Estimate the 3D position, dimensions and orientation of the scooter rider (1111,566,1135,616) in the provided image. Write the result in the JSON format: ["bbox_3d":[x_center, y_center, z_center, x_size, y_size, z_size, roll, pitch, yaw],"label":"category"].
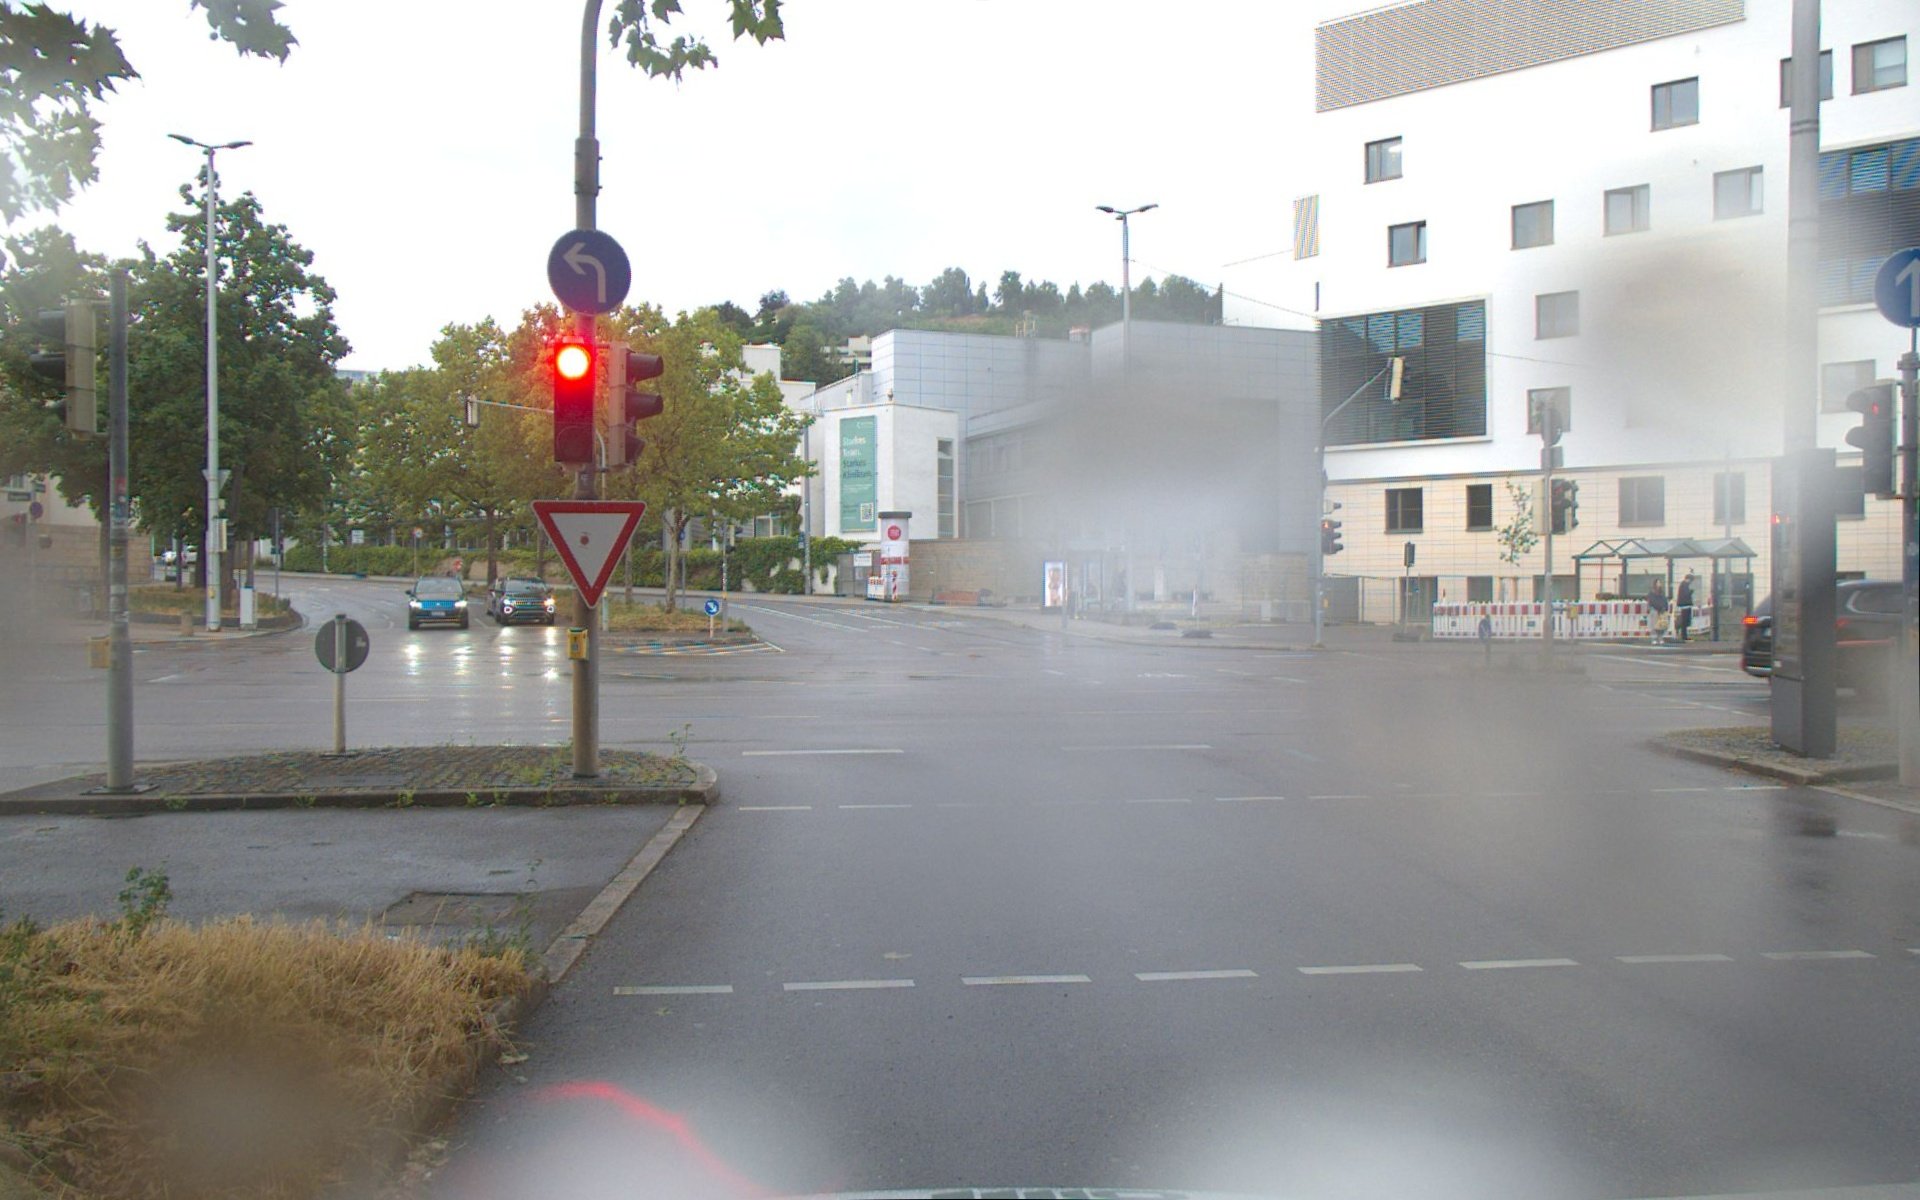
[{"bbox_3d":[6.419,-0.358,65.068,0.713,1.916,0.628,2,-1,-21],"label":"scooter rider"}]

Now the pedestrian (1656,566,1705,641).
[{"bbox_3d":[19.463,0.095,44.674,0.980,1.969,0.955,1,-1,9],"label":"pedestrian"}]

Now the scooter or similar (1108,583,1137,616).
[{"bbox_3d":[6.393,-0.023,65.074,0.582,1.260,1.305,2,-1,-22],"label":"scooter or similar"}]

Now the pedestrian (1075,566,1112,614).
[{"bbox_3d":[4.964,-0.353,61.617,1.232,1.749,1.016,1,-1,-2],"label":"pedestrian"}]

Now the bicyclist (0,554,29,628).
[{"bbox_3d":[-21.938,-0.206,37.674,1.107,1.661,0.699,2,-1,-17],"label":"bicyclist"}]

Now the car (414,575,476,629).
[{"bbox_3d":[-16.669,0.024,53.510,1.839,1.591,4.255,-1,2,-18],"label":"car"}]

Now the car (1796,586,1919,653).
[{"bbox_3d":[21.935,0.482,38.851,3.921,1.469,1.790,2,0,-16],"label":"car"}]

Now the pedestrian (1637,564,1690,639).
[{"bbox_3d":[18.080,0.042,42.520,0.934,1.872,0.821,2,-1,-12],"label":"pedestrian"}]

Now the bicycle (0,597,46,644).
[{"bbox_3d":[-21.915,0.462,37.673,1.786,1.075,0.645,1,-1,-17],"label":"bicycle"}]

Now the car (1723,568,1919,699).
[{"bbox_3d":[13.397,0.427,23.501,4.597,1.735,1.790,0,1,-16],"label":"car"}]

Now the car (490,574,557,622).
[{"bbox_3d":[-15.189,-0.104,57.481,1.764,1.612,3.973,0,1,-22],"label":"car"}]
